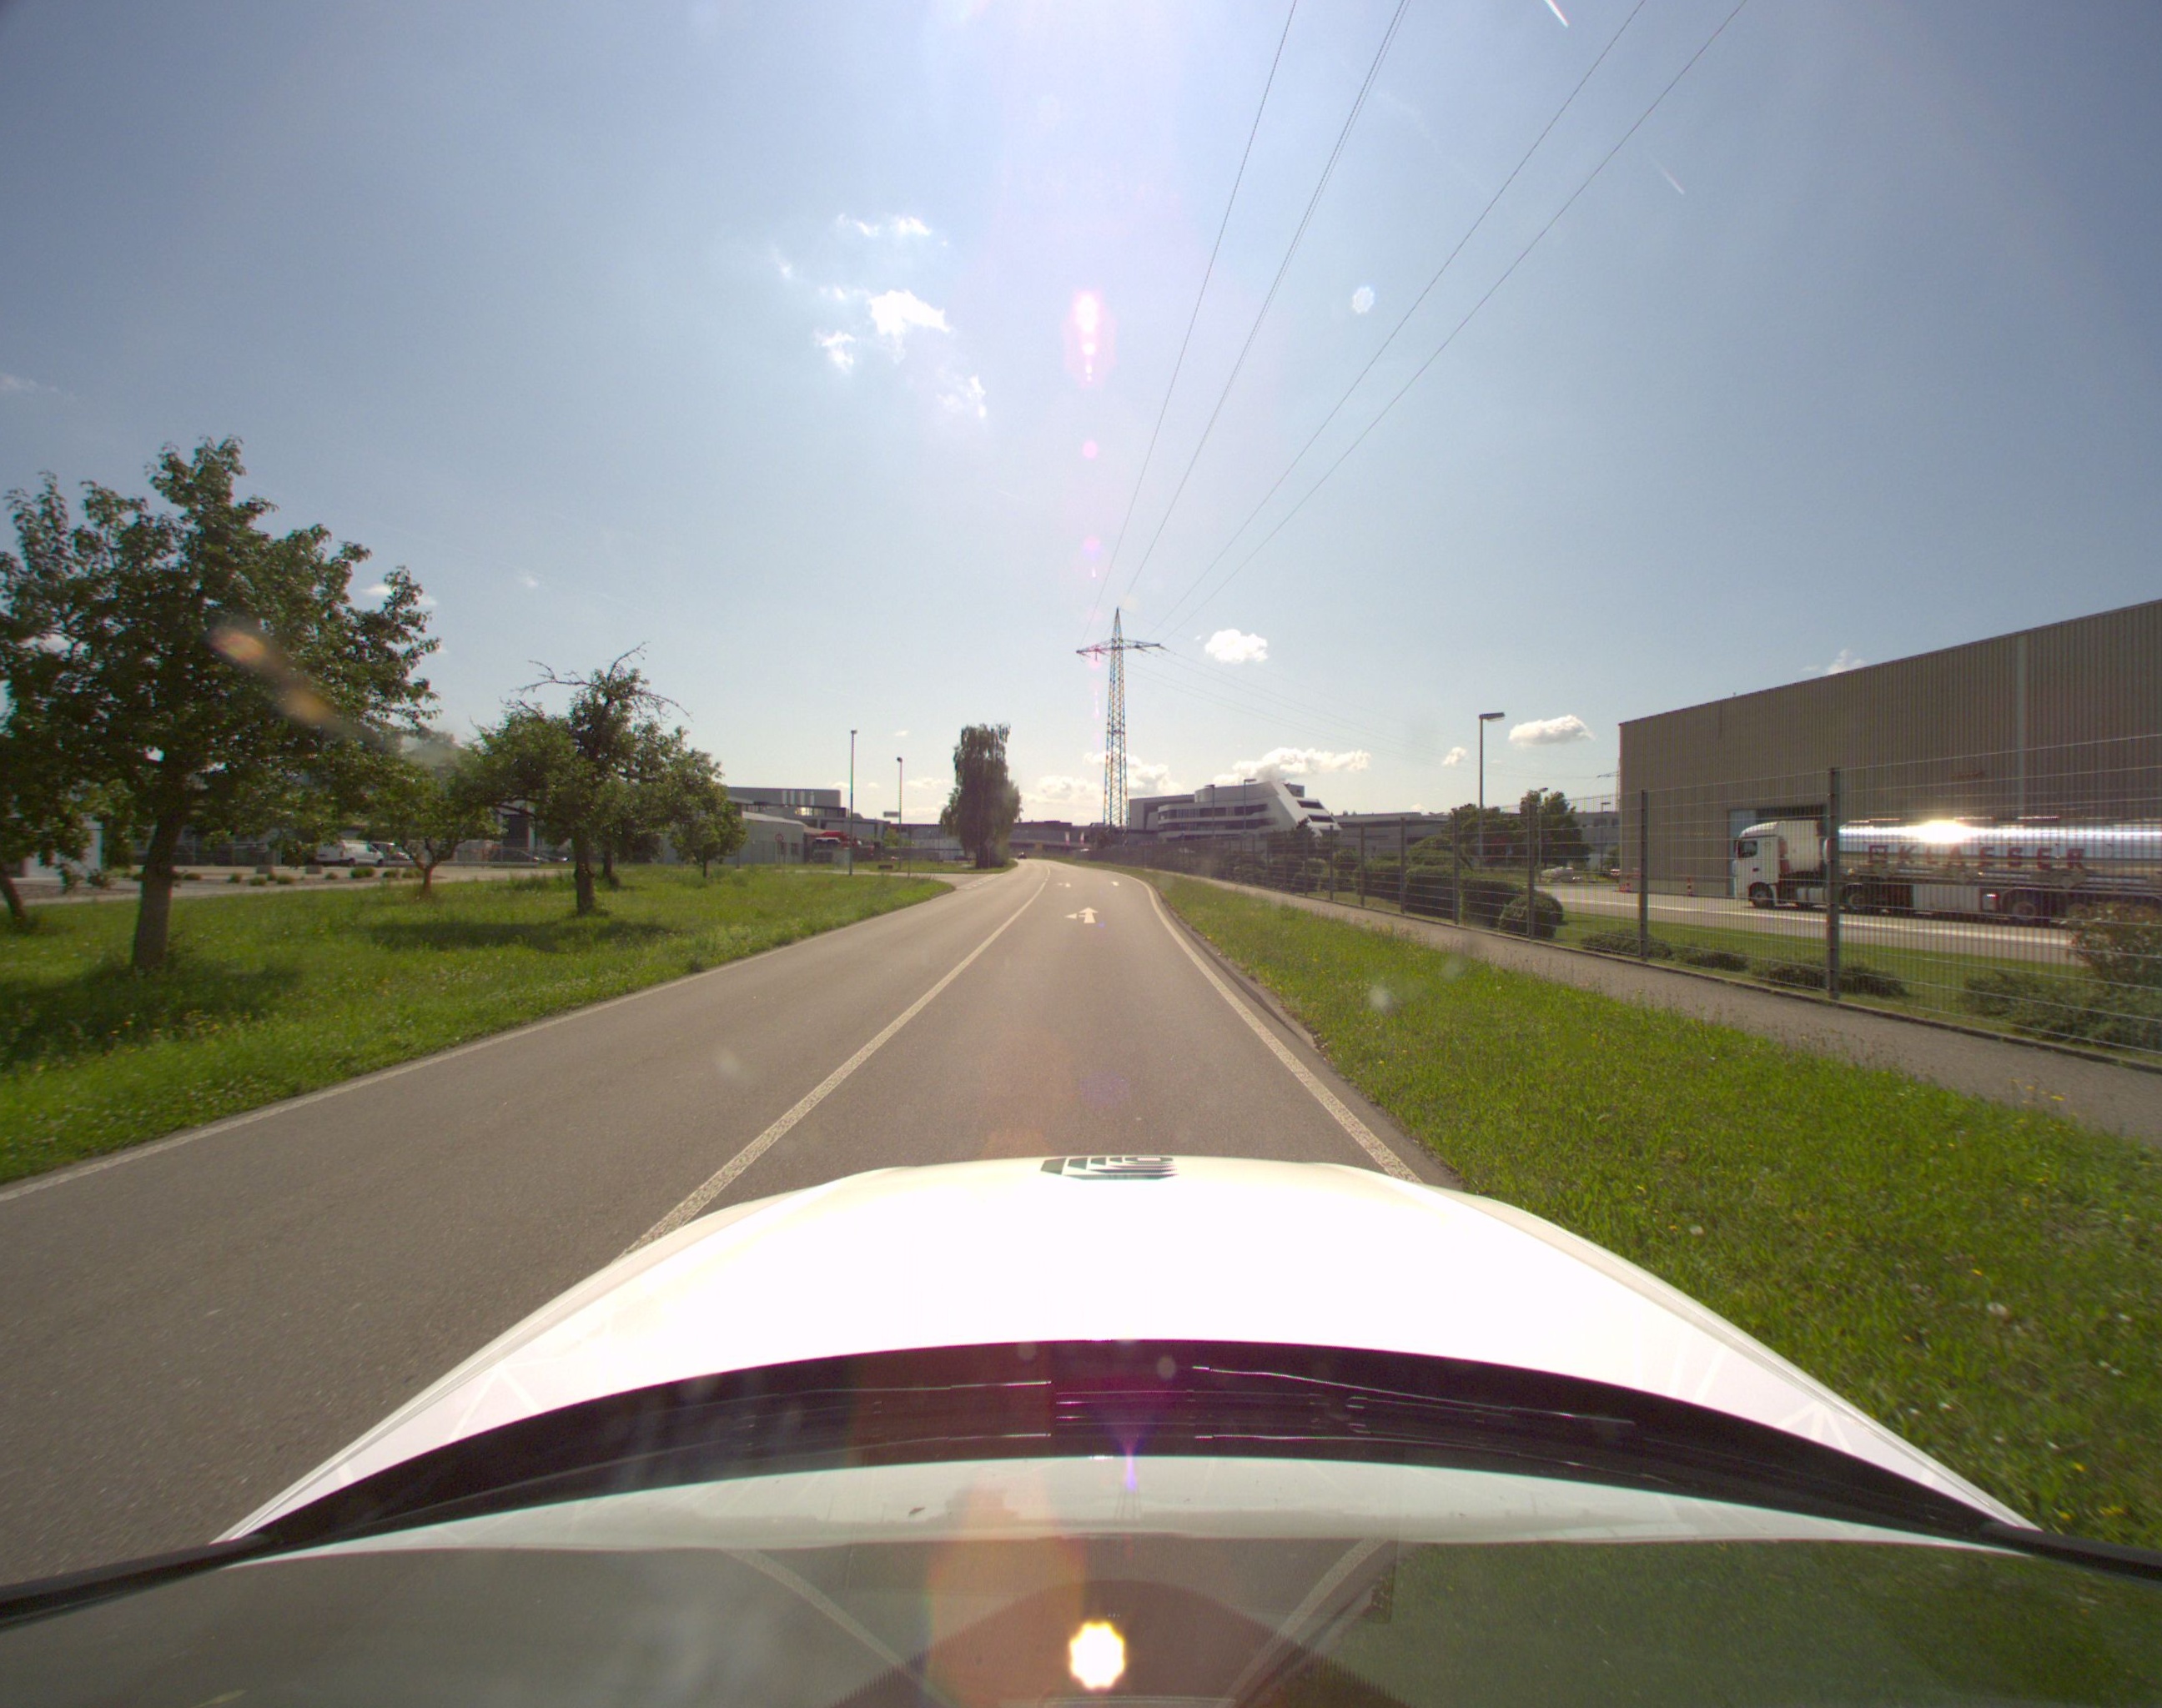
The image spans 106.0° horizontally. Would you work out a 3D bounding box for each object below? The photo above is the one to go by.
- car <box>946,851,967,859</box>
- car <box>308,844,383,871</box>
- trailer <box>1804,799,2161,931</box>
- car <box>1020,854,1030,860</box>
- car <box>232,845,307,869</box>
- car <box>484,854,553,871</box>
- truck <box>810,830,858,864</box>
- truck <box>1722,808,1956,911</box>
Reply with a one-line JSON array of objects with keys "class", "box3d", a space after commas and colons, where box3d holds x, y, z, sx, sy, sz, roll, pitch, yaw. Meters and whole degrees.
[{"class": "car", "box3d": [-25.219, 0.125, 165.359, 3.981, 1.574, 1.996, 1, 0, -6]}, {"class": "car", "box3d": [-57.452, 0.283, 63.716, 1.993, 2.013, 4.728, 1, 0, -9]}, {"class": "trailer", "box3d": [31.893, 0.277, 27.438, 3.584, 3.735, 12.218, -1, 0, -5]}, {"class": "car", "box3d": [-13.522, 0.694, 197.792, 2.004, 1.508, 4.001, 1, 0, 1]}, {"class": "car", "box3d": [-62.571, 0.215, 62.810, 3.835, 1.753, 1.684, 1, 0, -7]}, {"class": "car", "box3d": [-43.845, 0.648, 63.528, 3.979, 1.244, 1.801, 1, 0, -4]}, {"class": "truck", "box3d": [-27.474, -0.770, 91.173, 2.747, 3.558, 10.255, 1, 0, -3]}, {"class": "truck", "box3d": [31.392, 0.190, 34.179, 3.590, 3.867, 6.393, -1, 0, -7]}]
